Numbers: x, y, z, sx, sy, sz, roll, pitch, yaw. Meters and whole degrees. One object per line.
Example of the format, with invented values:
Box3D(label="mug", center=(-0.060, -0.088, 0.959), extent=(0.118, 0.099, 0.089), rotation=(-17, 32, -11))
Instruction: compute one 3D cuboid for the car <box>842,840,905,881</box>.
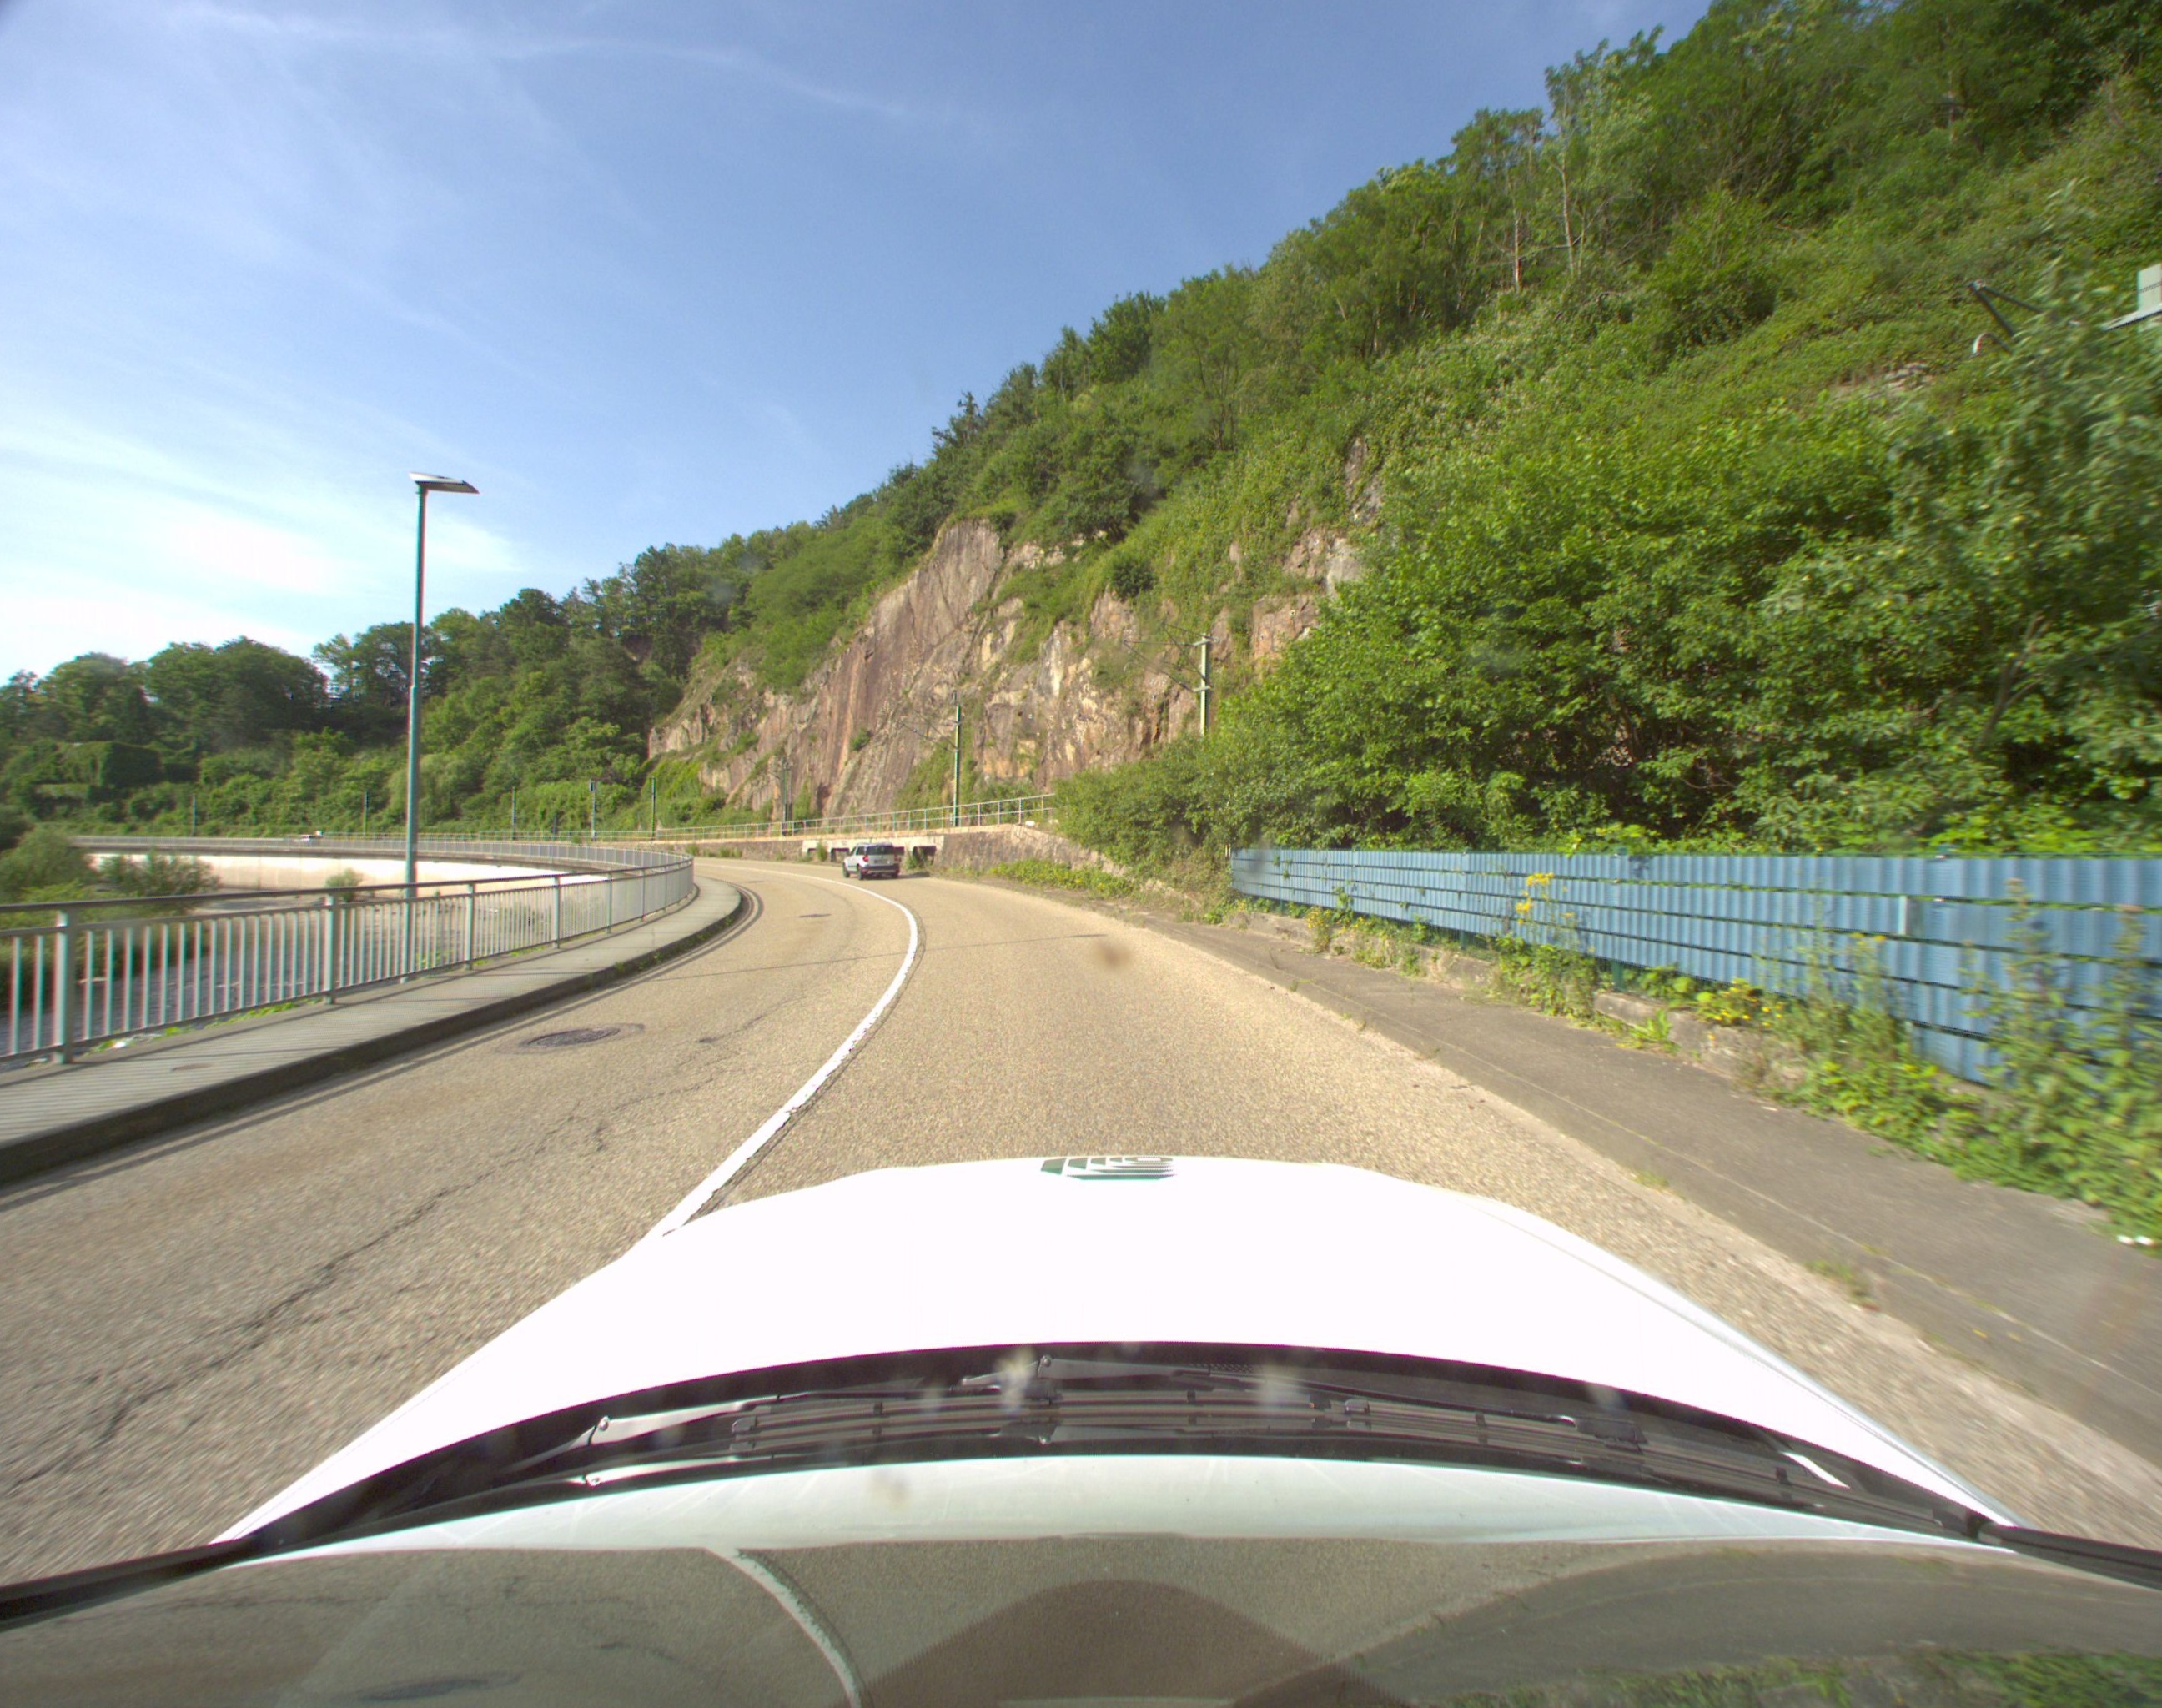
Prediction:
Box3D(label="car", center=(-9.617, 0.258, 37.547), extent=(1.884, 1.655, 3.964), rotation=(-2, 3, -29))
